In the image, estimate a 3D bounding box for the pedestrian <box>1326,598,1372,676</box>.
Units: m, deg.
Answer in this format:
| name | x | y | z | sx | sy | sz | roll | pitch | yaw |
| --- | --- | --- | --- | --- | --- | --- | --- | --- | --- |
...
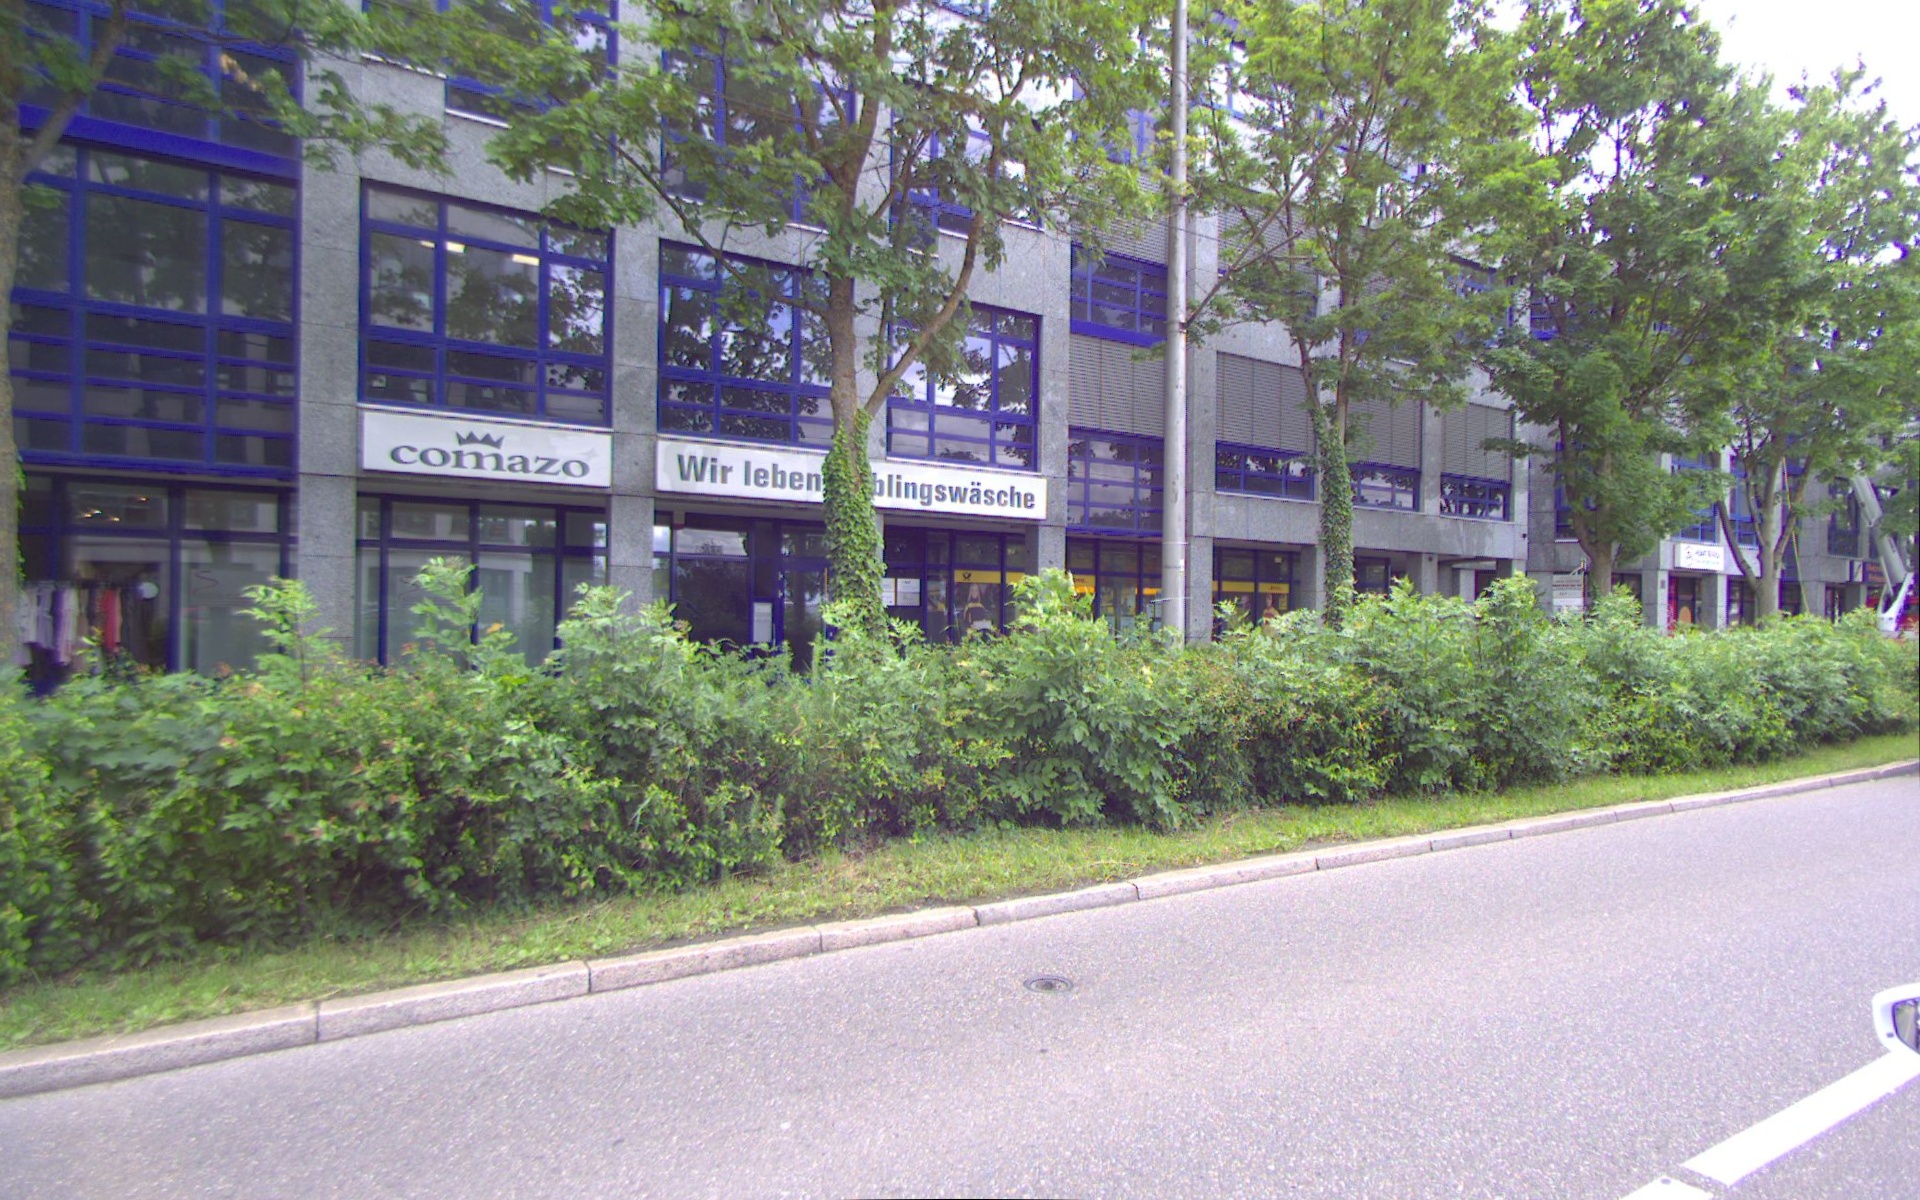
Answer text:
| name | x | y | z | sx | sy | sz | roll | pitch | yaw |
| --- | --- | --- | --- | --- | --- | --- | --- | --- | --- |
| pedestrian | 9.832 | 0.922 | 25.397 | 0.723 | 1.919 | 0.771 | 2 | 0 | -30 |
